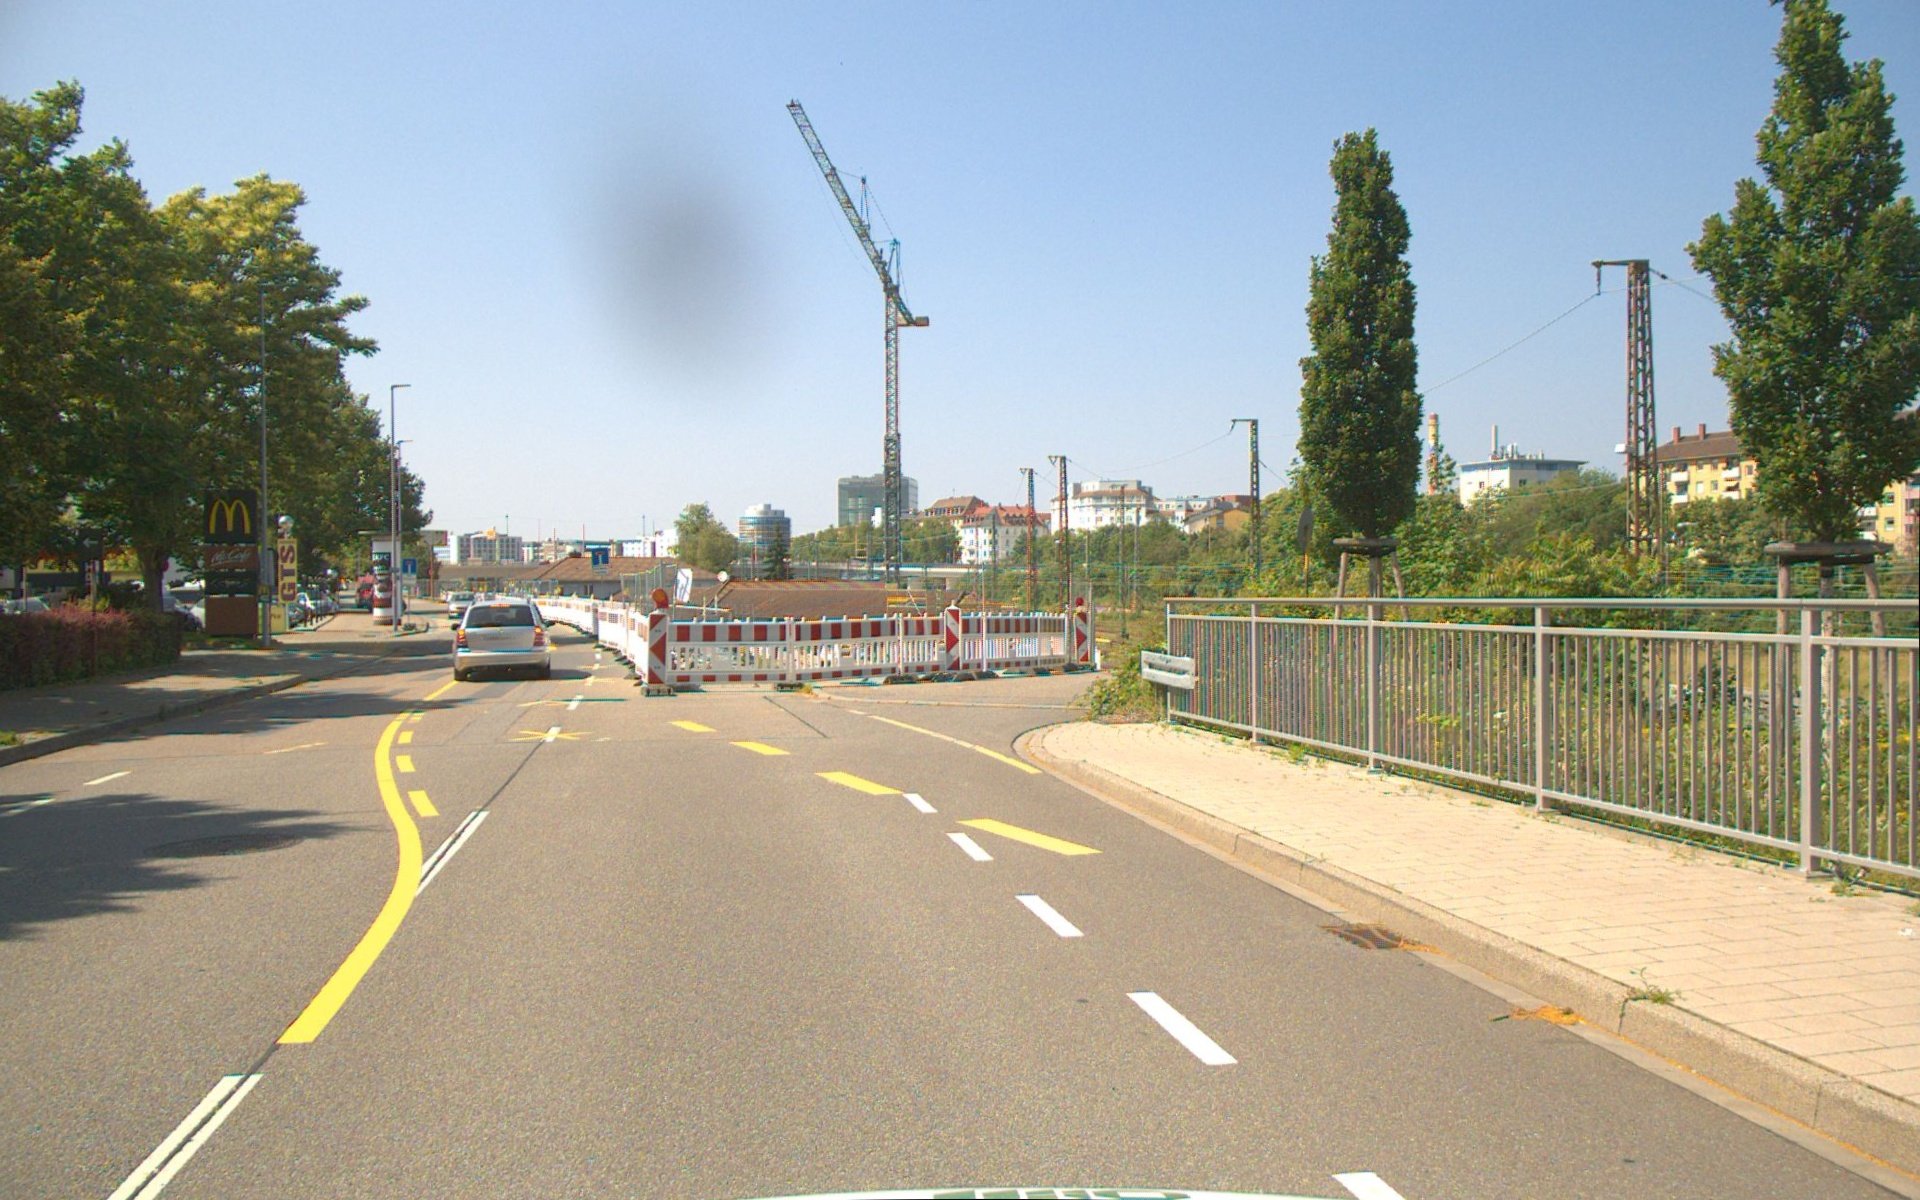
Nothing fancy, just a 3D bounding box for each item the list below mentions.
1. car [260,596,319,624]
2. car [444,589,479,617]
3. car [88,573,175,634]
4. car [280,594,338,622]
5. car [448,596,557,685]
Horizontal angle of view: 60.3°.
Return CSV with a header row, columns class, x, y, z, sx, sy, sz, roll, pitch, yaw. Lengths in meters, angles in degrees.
class,x,y,z,sx,sy,sz,roll,pitch,yaw
car,-39.836,0.604,98.270,3.930,1.498,1.663,-2,2,43
car,-29.056,0.180,96.367,1.652,1.519,4.579,-2,1,-20
car,-40.864,0.182,81.748,2.237,2.806,6.134,-2,0,-12
car,-40.148,0.501,101.973,3.930,1.498,1.771,-2,2,43
car,-8.409,0.684,30.694,1.679,1.428,4.373,-2,1,-13
